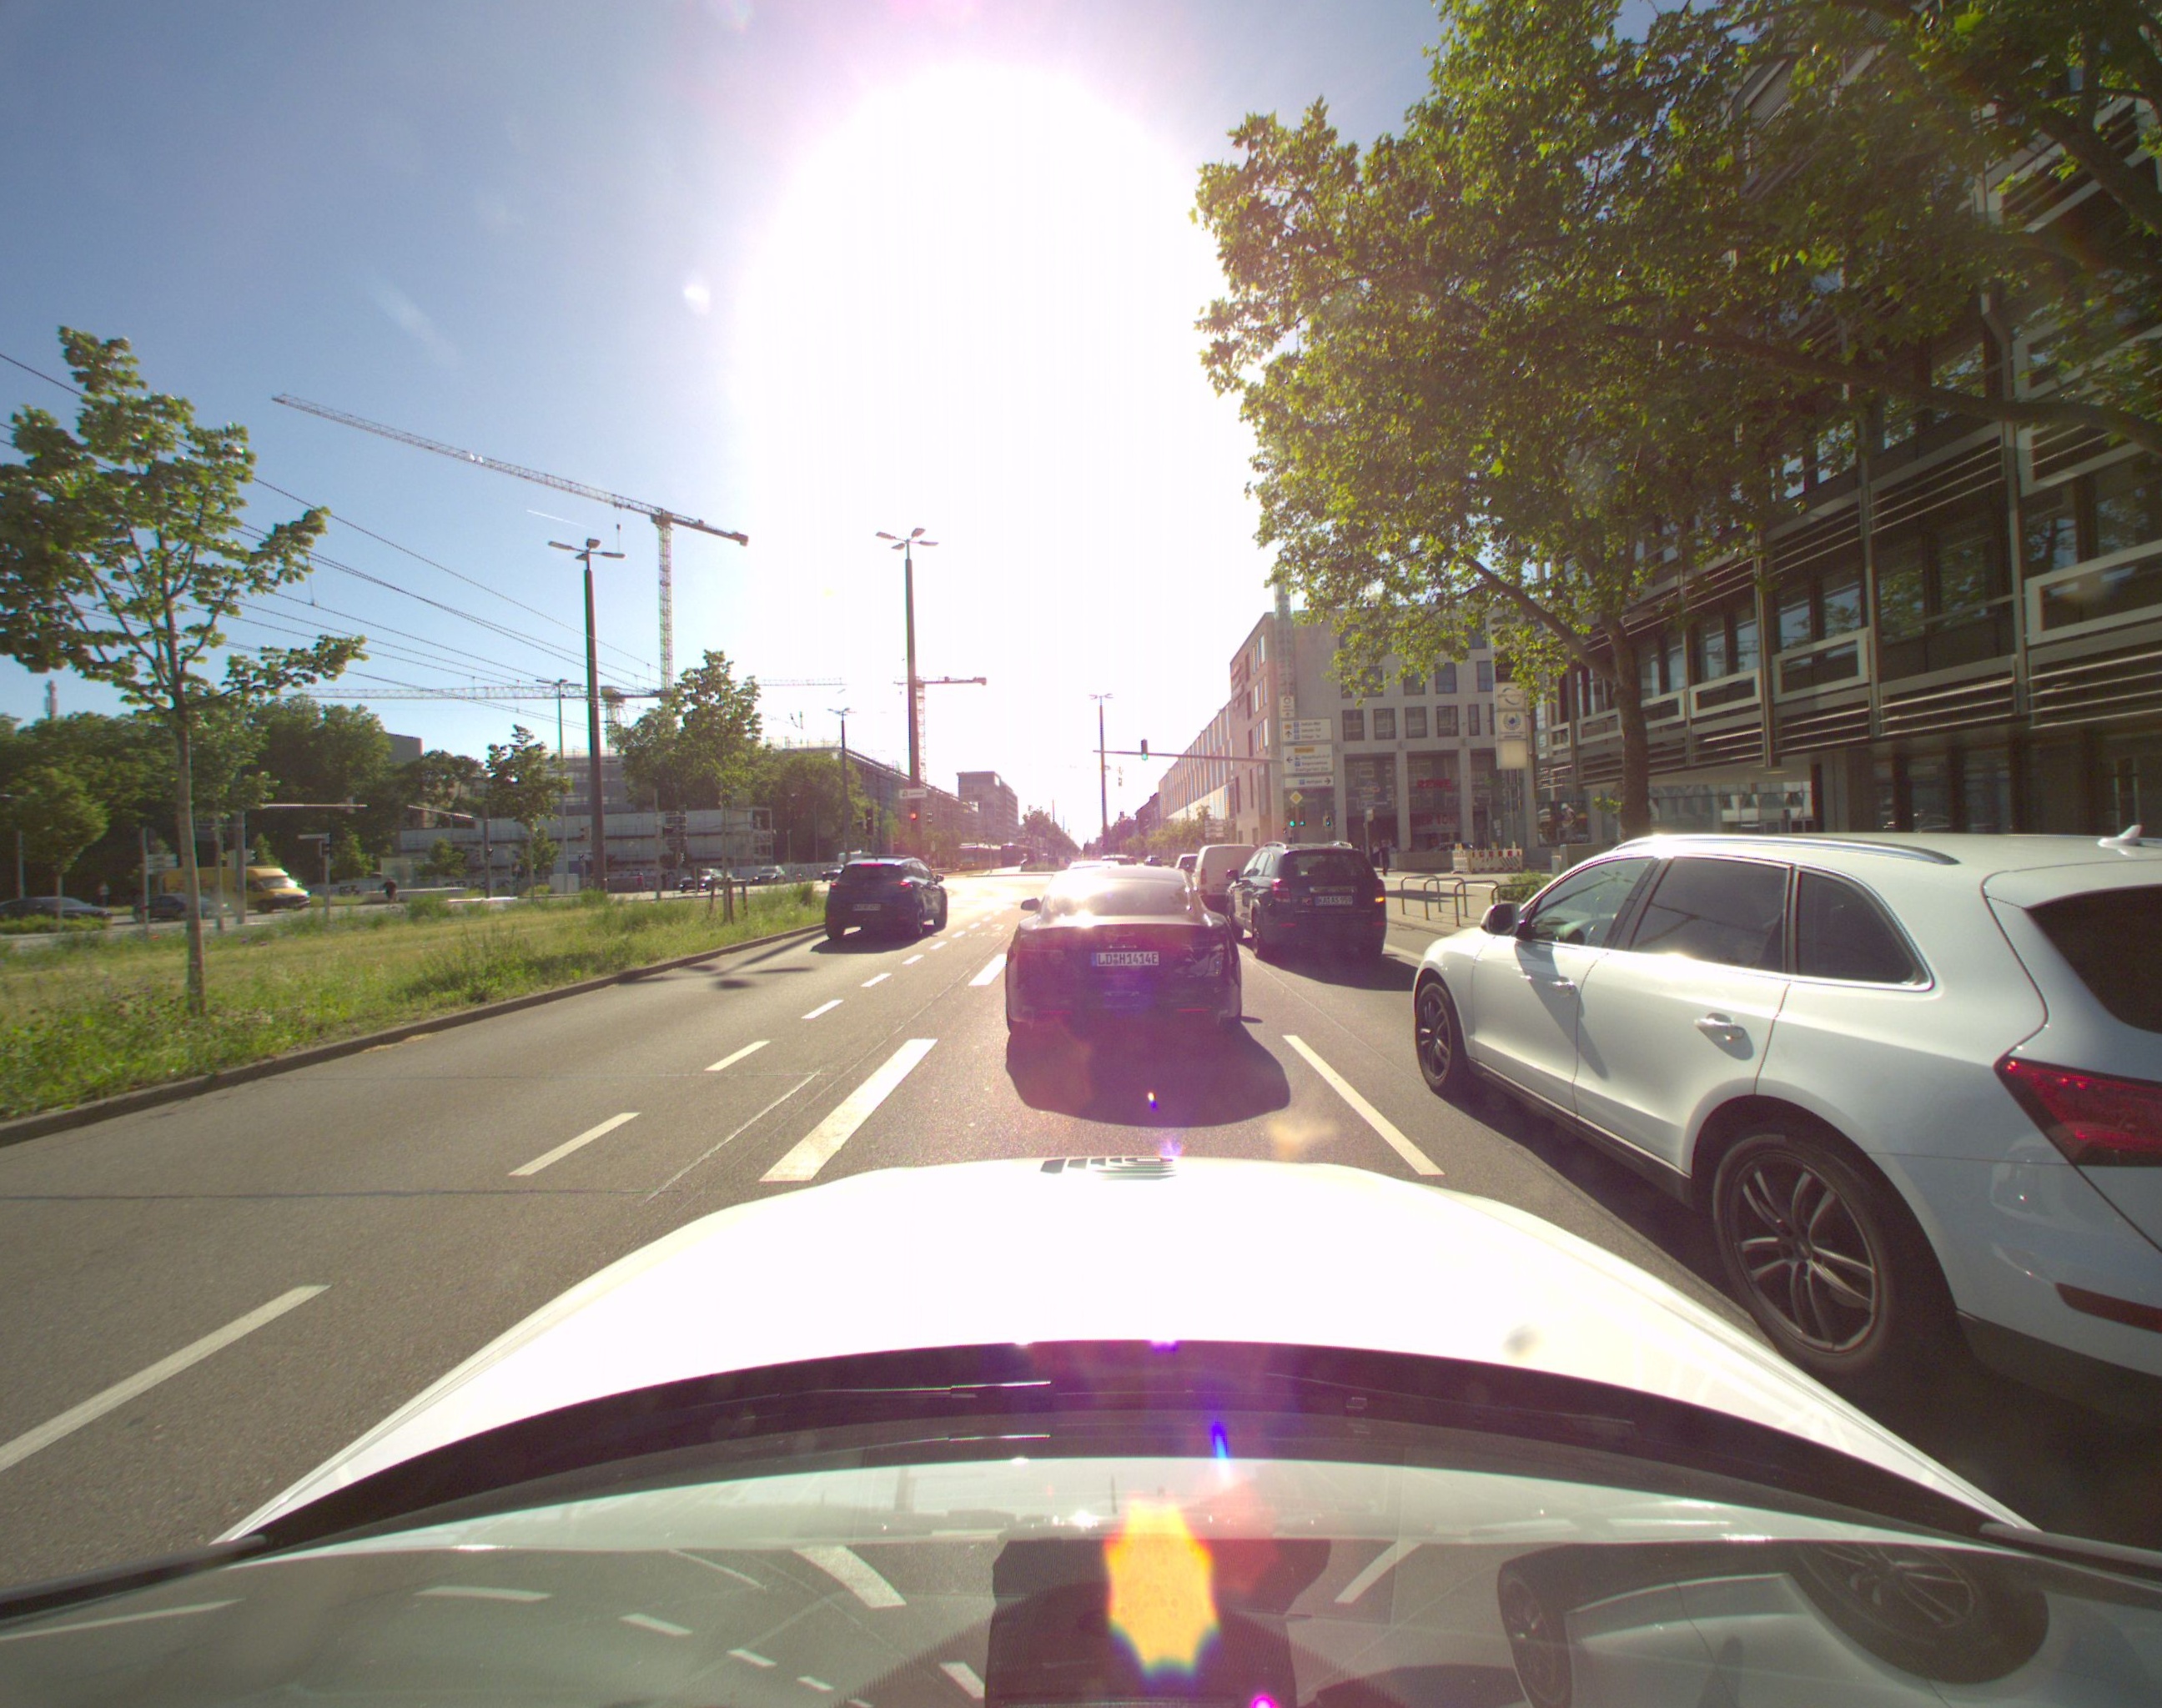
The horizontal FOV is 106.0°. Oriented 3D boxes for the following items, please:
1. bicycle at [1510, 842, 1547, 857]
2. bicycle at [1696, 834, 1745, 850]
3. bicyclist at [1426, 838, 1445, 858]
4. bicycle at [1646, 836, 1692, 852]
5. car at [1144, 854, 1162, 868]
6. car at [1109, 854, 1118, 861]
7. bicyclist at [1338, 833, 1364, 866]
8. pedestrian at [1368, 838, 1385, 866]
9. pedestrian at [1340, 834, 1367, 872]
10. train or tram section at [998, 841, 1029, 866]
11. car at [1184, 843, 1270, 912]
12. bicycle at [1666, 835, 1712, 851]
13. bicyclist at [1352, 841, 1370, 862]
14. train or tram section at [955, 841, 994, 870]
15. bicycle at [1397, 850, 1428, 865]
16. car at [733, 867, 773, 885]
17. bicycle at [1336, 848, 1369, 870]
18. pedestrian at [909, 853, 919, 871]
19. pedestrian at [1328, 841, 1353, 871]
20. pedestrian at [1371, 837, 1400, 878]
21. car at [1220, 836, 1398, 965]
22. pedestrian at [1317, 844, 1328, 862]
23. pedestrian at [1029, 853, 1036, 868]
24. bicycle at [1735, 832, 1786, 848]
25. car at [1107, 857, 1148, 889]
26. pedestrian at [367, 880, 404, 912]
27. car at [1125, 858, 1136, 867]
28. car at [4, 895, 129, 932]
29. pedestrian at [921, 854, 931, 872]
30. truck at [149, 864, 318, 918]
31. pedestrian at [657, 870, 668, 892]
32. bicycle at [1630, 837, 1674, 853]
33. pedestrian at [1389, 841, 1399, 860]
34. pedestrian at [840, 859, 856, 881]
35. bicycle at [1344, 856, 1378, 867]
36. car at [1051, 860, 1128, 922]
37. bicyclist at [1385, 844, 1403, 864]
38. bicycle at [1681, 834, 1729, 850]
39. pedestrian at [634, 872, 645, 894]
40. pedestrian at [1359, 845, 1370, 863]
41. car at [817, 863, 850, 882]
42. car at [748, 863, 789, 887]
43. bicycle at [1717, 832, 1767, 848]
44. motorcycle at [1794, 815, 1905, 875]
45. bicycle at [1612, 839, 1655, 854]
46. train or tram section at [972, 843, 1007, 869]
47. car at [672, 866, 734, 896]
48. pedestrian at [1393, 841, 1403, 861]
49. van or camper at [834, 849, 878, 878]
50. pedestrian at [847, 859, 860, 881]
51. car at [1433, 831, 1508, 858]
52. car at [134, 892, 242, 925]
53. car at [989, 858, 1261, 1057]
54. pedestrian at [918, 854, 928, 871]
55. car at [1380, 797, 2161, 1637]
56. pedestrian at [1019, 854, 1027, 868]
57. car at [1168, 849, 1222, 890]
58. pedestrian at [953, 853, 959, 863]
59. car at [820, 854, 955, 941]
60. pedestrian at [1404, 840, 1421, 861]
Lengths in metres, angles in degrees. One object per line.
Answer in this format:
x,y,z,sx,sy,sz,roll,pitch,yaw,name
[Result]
34.051,-0.317,62.046,1.061,1.094,3.501,-2,0,4,bicycle
48.013,-0.877,61.186,1.061,1.094,3.501,-2,0,4,bicycle
25.854,-0.433,59.411,0.928,1.433,1.042,-2,0,4,bicyclist
44.269,-0.747,61.388,1.061,1.094,3.501,-2,0,4,bicycle
8.817,0.851,99.441,1.927,1.542,4.002,-2,0,2,car
7.856,0.816,196.265,1.927,1.542,4.002,-2,0,2,car
12.688,-0.212,38.271,0.878,1.477,0.884,-2,0,1,bicyclist
17.481,-0.117,48.225,0.659,1.612,0.525,-4,-1,-8,pedestrian
15.094,-0.053,45.130,0.946,2.013,1.076,-2,0,-10,pedestrian
-9.594,-0.061,117.003,2.860,3.279,15.186,0,0,1,train or tram section
4.047,0.612,23.161,1.778,1.733,4.165,-2,0,2,car
45.615,-0.804,61.174,1.061,1.094,3.501,-2,0,4,bicycle
20.415,-0.170,59.412,1.017,1.476,1.073,-2,0,5,bicyclist
-12.945,0.209,100.022,2.860,3.310,13.074,0,0,1,train or tram section
25.408,0.238,62.450,1.061,1.094,3.500,-2,0,3,bicycle
-32.117,2.171,79.841,1.985,1.601,4.004,-2,0,4,car
12.700,0.210,38.185,0.878,0.984,2.051,-2,0,1,bicycle
-17.264,0.846,84.347,0.797,1.823,0.976,-2,0,-2,pedestrian
16.048,0.136,50.394,0.963,1.801,1.523,-4,0,1,pedestrian
15.265,0.177,40.857,0.945,2.013,1.077,-2,0,-6,pedestrian
3.469,0.626,13.257,1.777,1.699,4.415,-2,0,2,car
21.434,-0.082,72.372,0.745,1.608,0.556,-2,0,0,pedestrian
-5.605,0.735,93.871,0.739,1.628,0.862,-2,-1,2,pedestrian
50.767,-1.046,60.941,1.061,1.094,3.501,-2,0,4,bicycle
2.083,0.817,37.327,1.710,1.320,4.002,-2,0,2,car
-39.147,2.347,45.863,1.186,1.685,0.949,-1,1,5,pedestrian
9.145,1.492,151.055,1.927,1.542,4.002,-2,0,2,car
-49.151,2.886,39.499,3.966,1.539,1.907,-2,0,6,car
-15.907,0.910,83.511,0.797,1.823,0.976,-2,0,-2,pedestrian
-50.031,2.163,48.179,7.966,2.793,2.467,-2,0,6,truck
-35.183,2.284,68.491,0.704,1.823,0.589,-2,0,-36,pedestrian
42.821,-0.642,61.139,1.061,1.094,3.501,-2,0,4,bicycle
28.820,-0.299,75.005,0.559,1.762,0.643,-3,0,-35,pedestrian
-19.493,1.316,68.117,0.792,1.823,0.887,-2,0,33,pedestrian
20.401,0.529,59.397,2.183,0.671,1.073,-2,0,4,bicycle
0.253,0.862,20.437,1.710,1.320,4.002,-2,0,2,car
22.866,-0.026,59.556,0.928,1.396,1.078,-2,0,5,bicyclist
46.842,-0.868,61.214,1.061,1.094,3.501,-2,0,4,bicycle
-38.194,2.529,70.512,0.704,1.823,0.589,-2,0,-36,pedestrian
26.151,0.025,75.169,0.559,1.608,0.742,-3,0,-35,pedestrian
-24.273,1.817,80.003,1.939,1.707,4.366,-2,0,0,car
-27.242,1.801,71.119,1.863,1.955,4.001,-2,0,1,car
49.136,-1.013,60.618,1.061,1.094,3.501,-2,0,4,bicycle
19.527,-0.217,20.766,0.820,1.441,2.123,-2,0,2,motorcycle
41.688,-0.549,61.496,1.061,1.094,3.501,-2,0,4,bicycle
-12.667,0.328,114.528,2.838,3.321,15.967,0,-1,1,train or tram section
-24.489,1.719,52.963,1.818,1.689,4.096,-2,0,4,car
29.346,-0.277,75.416,0.559,1.762,0.643,-3,0,-35,pedestrian
-24.466,1.013,88.863,2.597,2.937,7.340,-2,0,0,van or camper
-19.627,1.348,70.281,0.797,1.823,0.976,-2,0,-2,pedestrian
26.503,-0.601,55.482,4.167,1.613,1.862,-2,-2,3,car
-48.450,2.937,44.240,3.966,1.539,1.907,-2,0,6,car
0.412,0.784,8.270,1.991,1.434,4.415,-1,0,2,car
-16.822,0.909,86.509,0.797,1.823,0.976,-2,0,-2,pedestrian
3.032,0.664,3.751,1.812,1.613,4.415,-2,0,2,car
-7.405,0.883,103.949,0.872,1.775,1.188,0,0,-2,pedestrian
4.637,0.579,33.679,1.777,1.546,4.041,-2,0,2,car
-15.778,0.550,102.723,0.669,1.226,0.506,0,-1,-2,pedestrian
-3.882,0.804,17.032,1.764,1.588,4.089,0,0,1,car
27.326,-0.304,67.184,0.974,1.684,0.860,-2,0,-1,pedestrian
